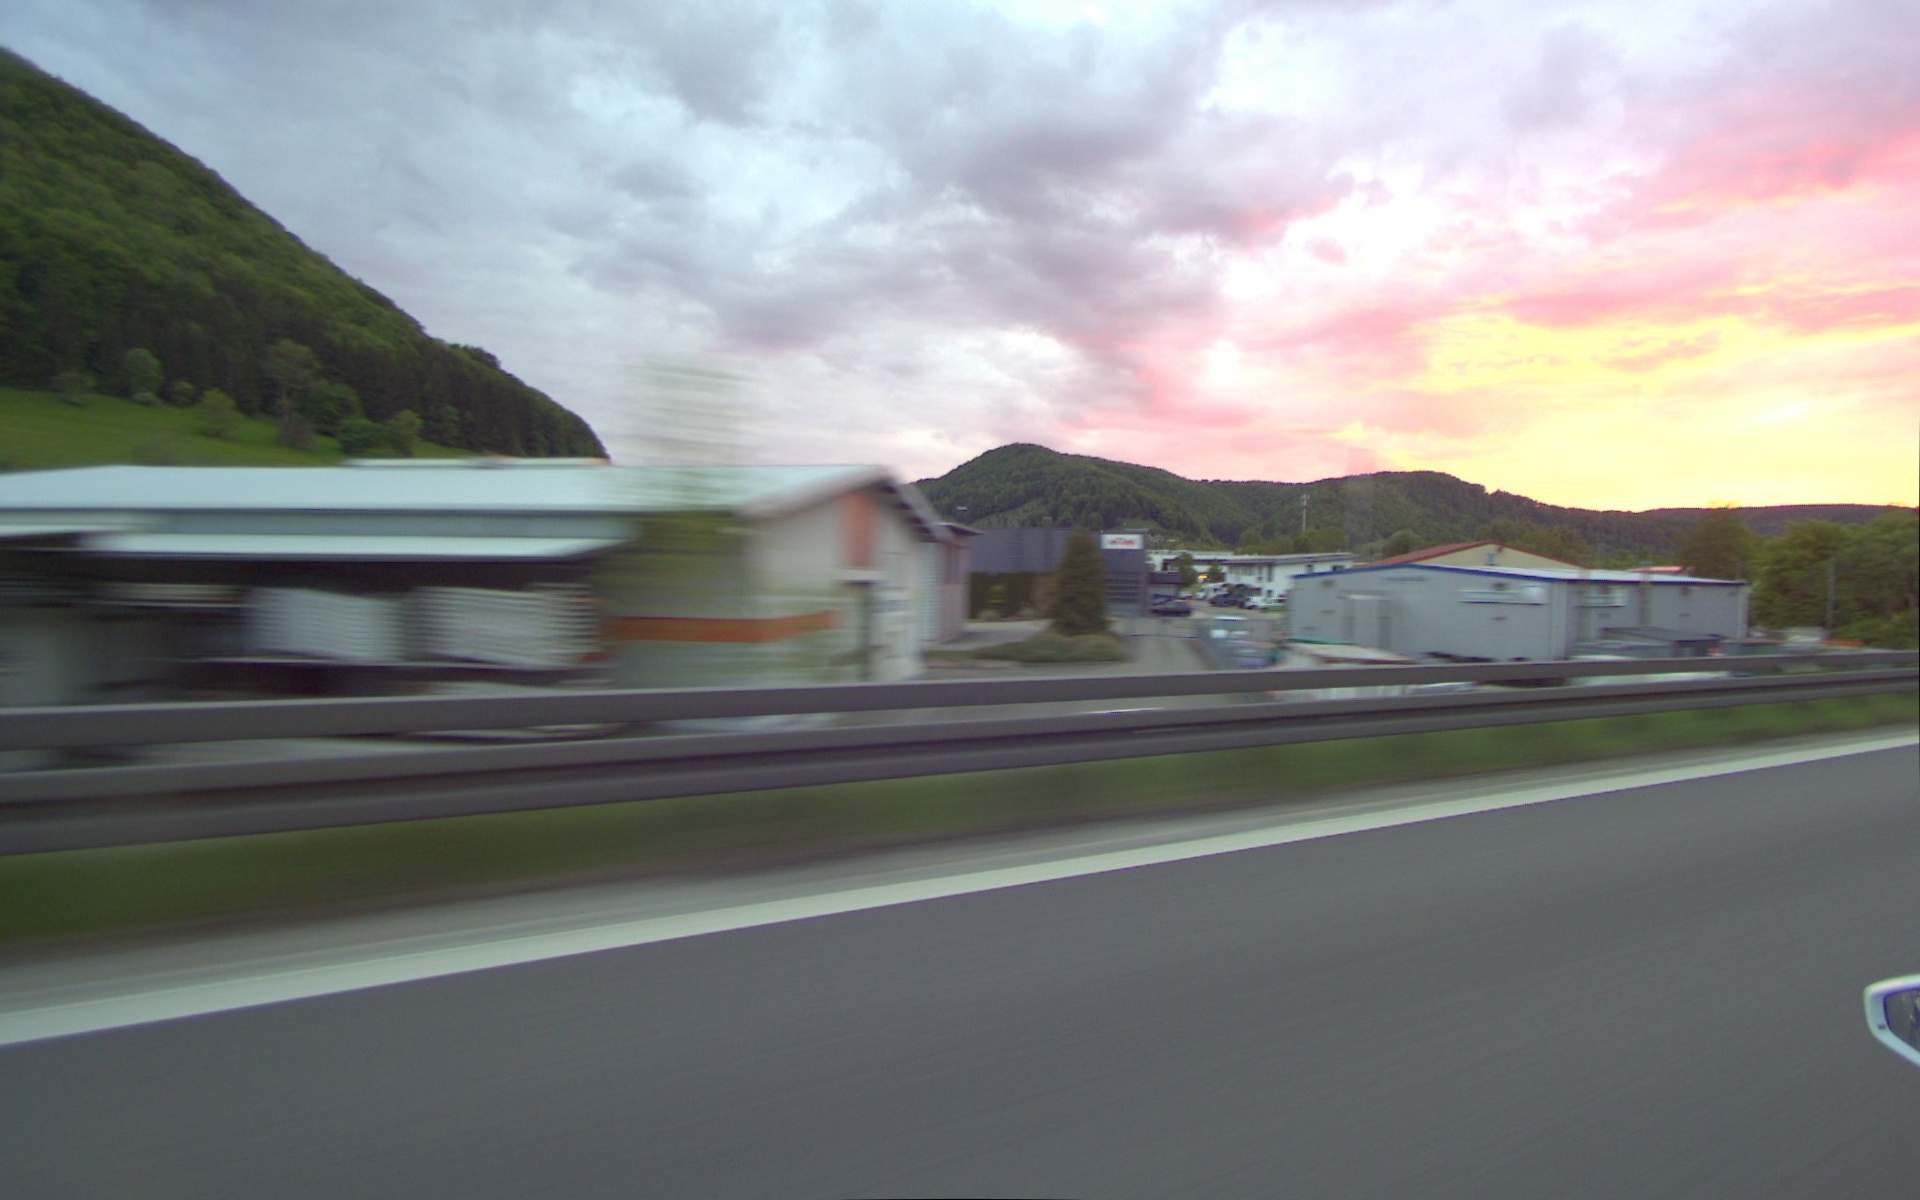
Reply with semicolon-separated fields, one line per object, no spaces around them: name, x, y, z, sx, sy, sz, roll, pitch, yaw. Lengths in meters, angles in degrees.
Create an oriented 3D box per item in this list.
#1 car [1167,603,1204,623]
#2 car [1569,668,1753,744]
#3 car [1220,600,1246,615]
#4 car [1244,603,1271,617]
car;24.705;1.456;110.068;3.919;2.040;2.001;2;0;14
car;19.823;2.937;28.596;1.748;1.715;3.976;2;0;-24
car;40.825;1.110;150.272;1.965;2.040;4.240;2;0;-11
car;42.466;1.452;143.362;1.965;1.858;4.240;2;0;-11
